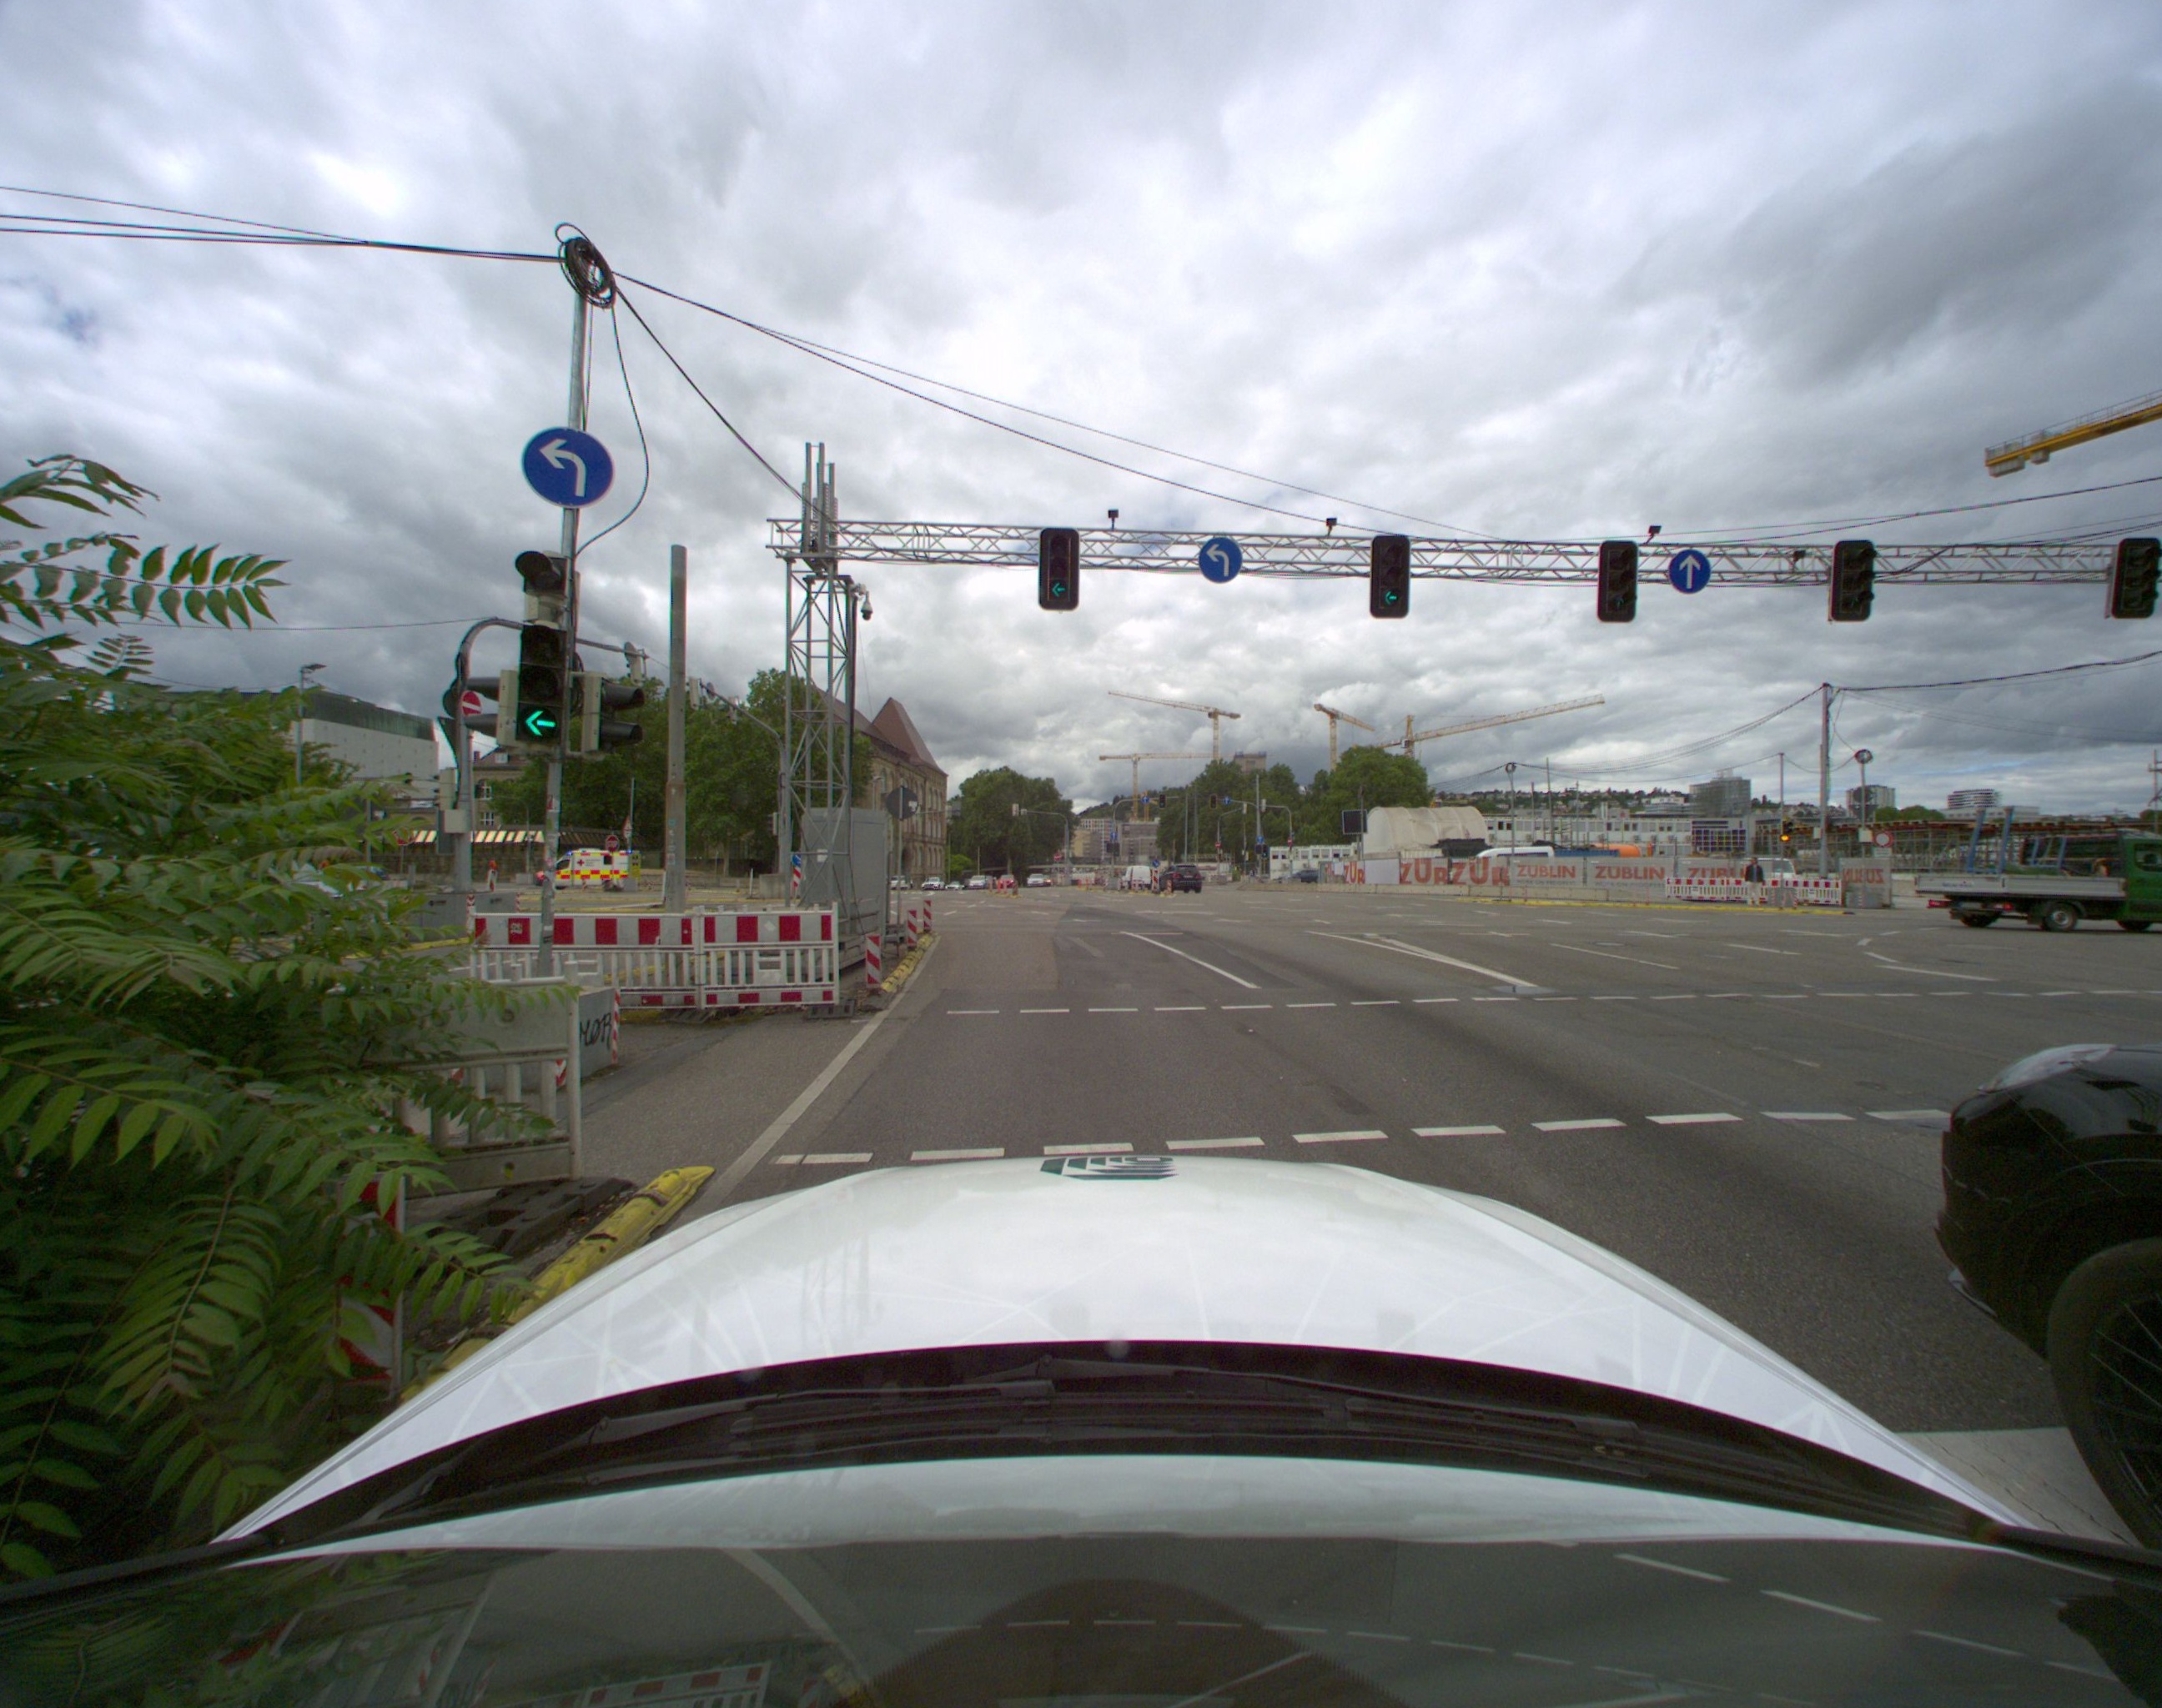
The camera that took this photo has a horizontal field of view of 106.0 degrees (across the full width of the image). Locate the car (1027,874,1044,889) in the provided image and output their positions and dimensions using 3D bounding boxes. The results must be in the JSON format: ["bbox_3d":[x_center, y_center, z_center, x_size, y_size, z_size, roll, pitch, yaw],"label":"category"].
[{"bbox_3d":[-4.667,2.797,83.138,1.672,1.398,3.678,-1,-1,-4],"label":"car"}]

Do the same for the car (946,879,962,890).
[{"bbox_3d":[-16.230,3.870,103.883,1.672,1.398,3.678,-1,-1,-4],"label":"car"}]

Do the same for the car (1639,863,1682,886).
[{"bbox_3d":[40.955,1.440,57.654,1.661,1.528,4.022,-1,-1,23],"label":"car"}]

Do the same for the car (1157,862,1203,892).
[{"bbox_3d":[6.020,1.388,49.837,1.830,1.746,4.245,0,-1,-7],"label":"car"}]

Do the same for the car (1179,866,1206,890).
[{"bbox_3d":[8.201,1.752,60.200,1.669,1.702,3.376,-1,-1,2],"label":"car"}]

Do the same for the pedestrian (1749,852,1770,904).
[{"bbox_3d":[26.016,0.916,31.225,0.581,1.976,0.437,-1,-1,44],"label":"pedestrian"}]

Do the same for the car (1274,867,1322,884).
[{"bbox_3d":[20.523,2.025,77.082,3.996,1.625,1.812,0,-1,-17],"label":"car"}]

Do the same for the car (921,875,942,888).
[{"bbox_3d":[-16.475,3.004,89.876,1.670,1.398,3.682,-1,-1,0],"label":"car"}]

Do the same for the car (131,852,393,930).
[{"bbox_3d":[-18.429,0.812,18.473,4.040,1.625,1.830,-1,-1,0],"label":"car"}]

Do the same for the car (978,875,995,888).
[{"bbox_3d":[-10.464,3.080,90.667,1.672,1.398,3.678,-1,-1,-4],"label":"car"}]

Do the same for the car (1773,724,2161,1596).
[{"bbox_3d":[2.971,0.572,0.251,1.817,1.715,4.487,-1,-1,2],"label":"car"}]

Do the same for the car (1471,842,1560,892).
[{"bbox_3d":[23.693,0.732,44.542,3.957,2.662,1.688,-1,-1,16],"label":"car"}]

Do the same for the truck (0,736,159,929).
[{"bbox_3d":[-25.123,-0.406,18.468,4.863,4.064,2.943,-1,-1,-2],"label":"truck"}]

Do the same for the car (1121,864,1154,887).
[{"bbox_3d":[4.269,1.622,62.229,1.815,1.625,3.990,0,-1,-7],"label":"car"}]

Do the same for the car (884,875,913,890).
[{"bbox_3d":[-17.966,2.793,80.358,1.667,1.398,3.689,-1,-1,6],"label":"car"}]

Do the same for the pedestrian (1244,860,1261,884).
[{"bbox_3d":[15.122,1.576,71.764,1.094,2.014,1.181,0,-1,-9],"label":"pedestrian"}]

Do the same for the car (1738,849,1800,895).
[{"bbox_3d":[30.499,0.778,36.187,1.755,1.954,3.146,-1,-1,35],"label":"car"}]

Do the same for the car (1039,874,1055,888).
[{"bbox_3d":[-3.777,2.979,90.162,1.672,1.398,3.678,-1,-1,-4],"label":"car"}]

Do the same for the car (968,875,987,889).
[{"bbox_3d":[-10.697,2.876,84.033,1.672,1.398,3.678,-1,-1,-4],"label":"car"}]

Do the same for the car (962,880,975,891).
[{"bbox_3d":[-16.213,4.550,117.489,1.672,1.398,3.678,-1,-1,-4],"label":"car"}]

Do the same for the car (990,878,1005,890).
[{"bbox_3d":[-10.208,3.654,100.108,1.672,1.398,3.678,-1,-1,-4],"label":"car"}]

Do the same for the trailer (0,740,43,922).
[{"bbox_3d":[-32.255,-0.485,18.218,13.705,4.281,2.945,-1,-1,-2],"label":"trailer"}]

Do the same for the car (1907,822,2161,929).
[{"bbox_3d":[23.407,0.483,18.937,5.730,2.305,2.307,-1,-1,5],"label":"car"}]

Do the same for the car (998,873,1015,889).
[{"bbox_3d":[-7.569,2.735,83.013,1.672,1.580,3.678,-1,-1,-4],"label":"car"}]

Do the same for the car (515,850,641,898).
[{"bbox_3d":[-33.641,1.329,54.722,6.739,3.052,2.363,0,-1,-11],"label":"car"}]
